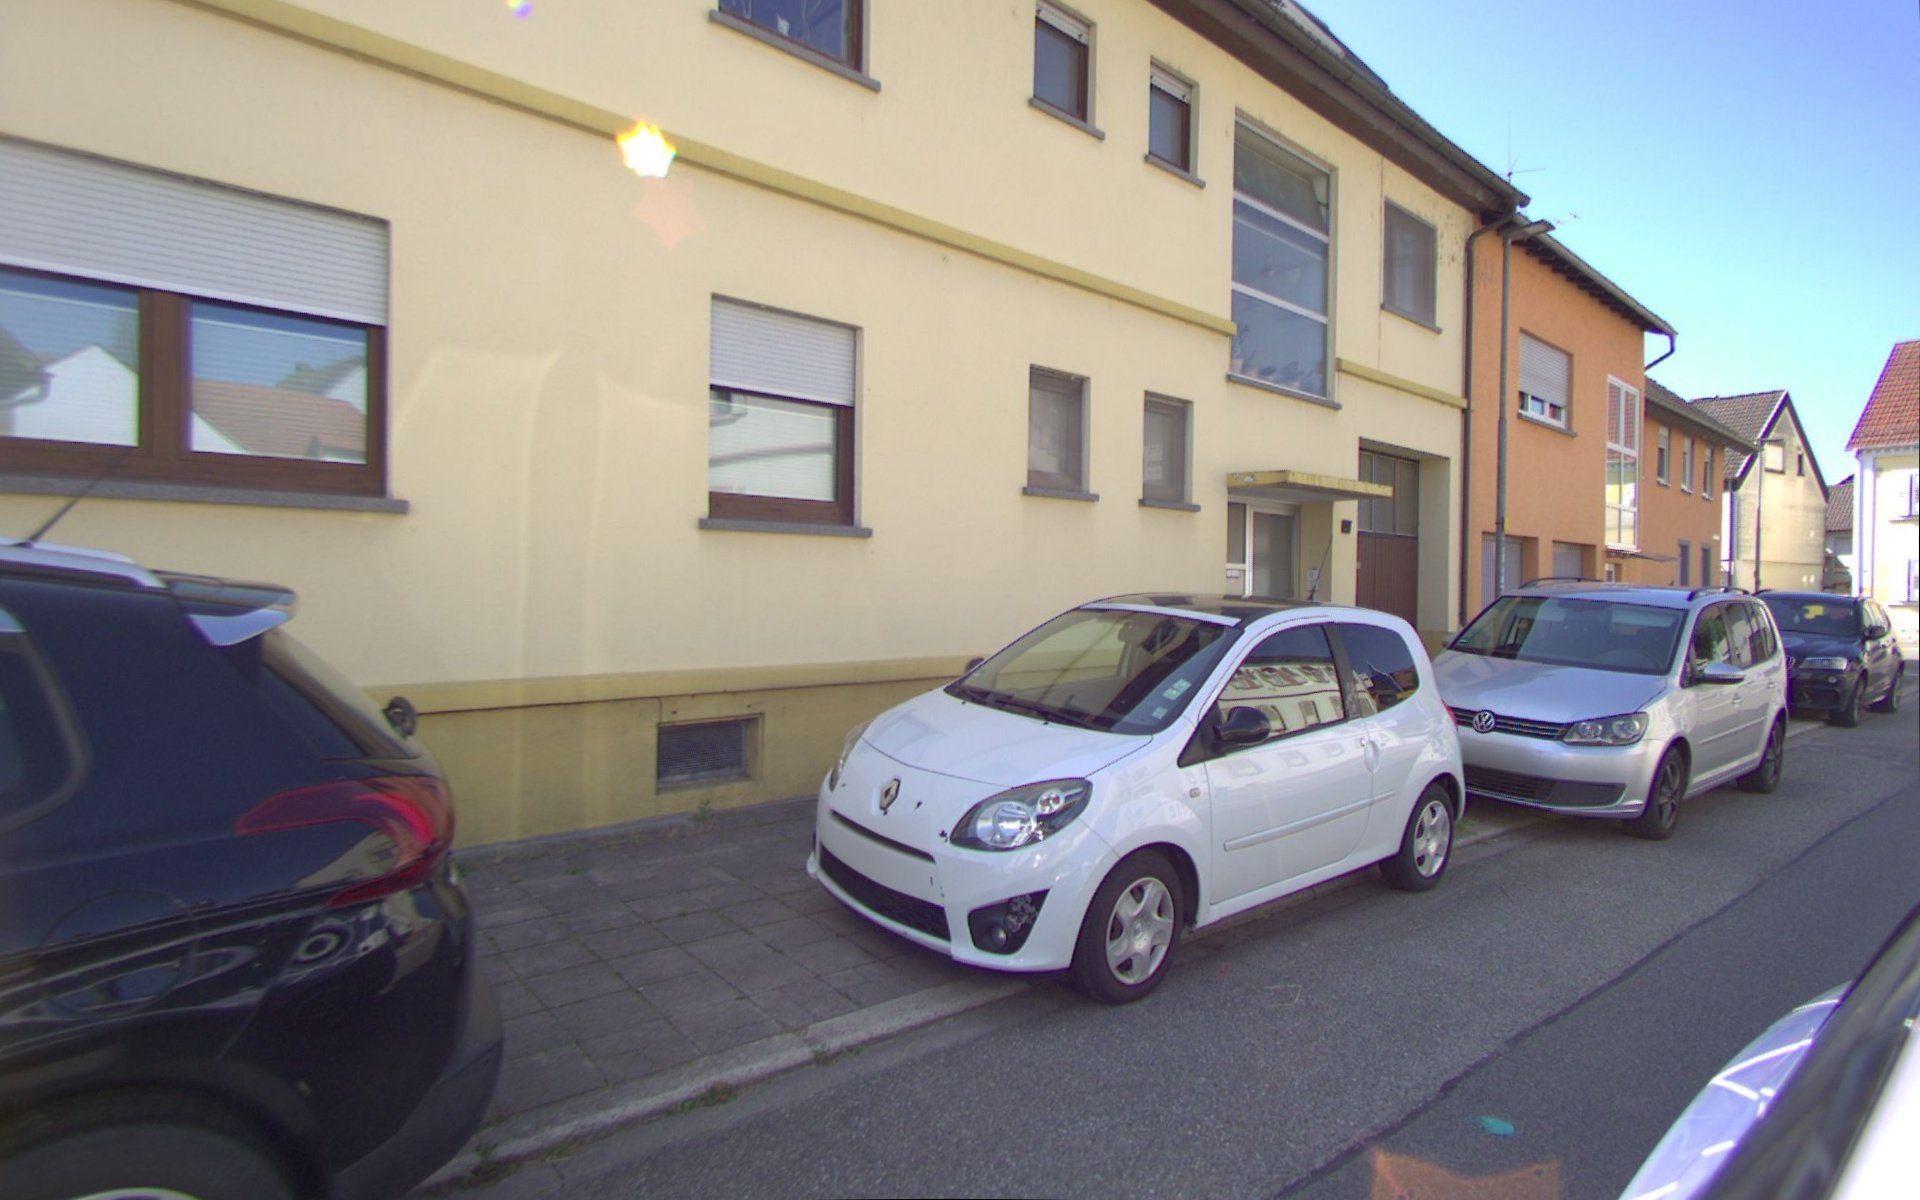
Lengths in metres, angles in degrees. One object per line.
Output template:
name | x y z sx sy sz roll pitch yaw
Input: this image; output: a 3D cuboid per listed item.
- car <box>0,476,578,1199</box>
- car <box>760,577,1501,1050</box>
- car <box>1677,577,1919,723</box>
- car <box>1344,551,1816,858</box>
car | -2.782 0.599 1.287 3.957 1.603 1.702 0 2 -41
car | 1.037 0.656 4.949 3.654 1.456 1.554 0 2 -40
car | 12.124 0.584 14.396 5.087 1.724 1.849 0 1 -39
car | 4.953 0.586 7.854 4.173 1.750 1.902 0 0 -40
